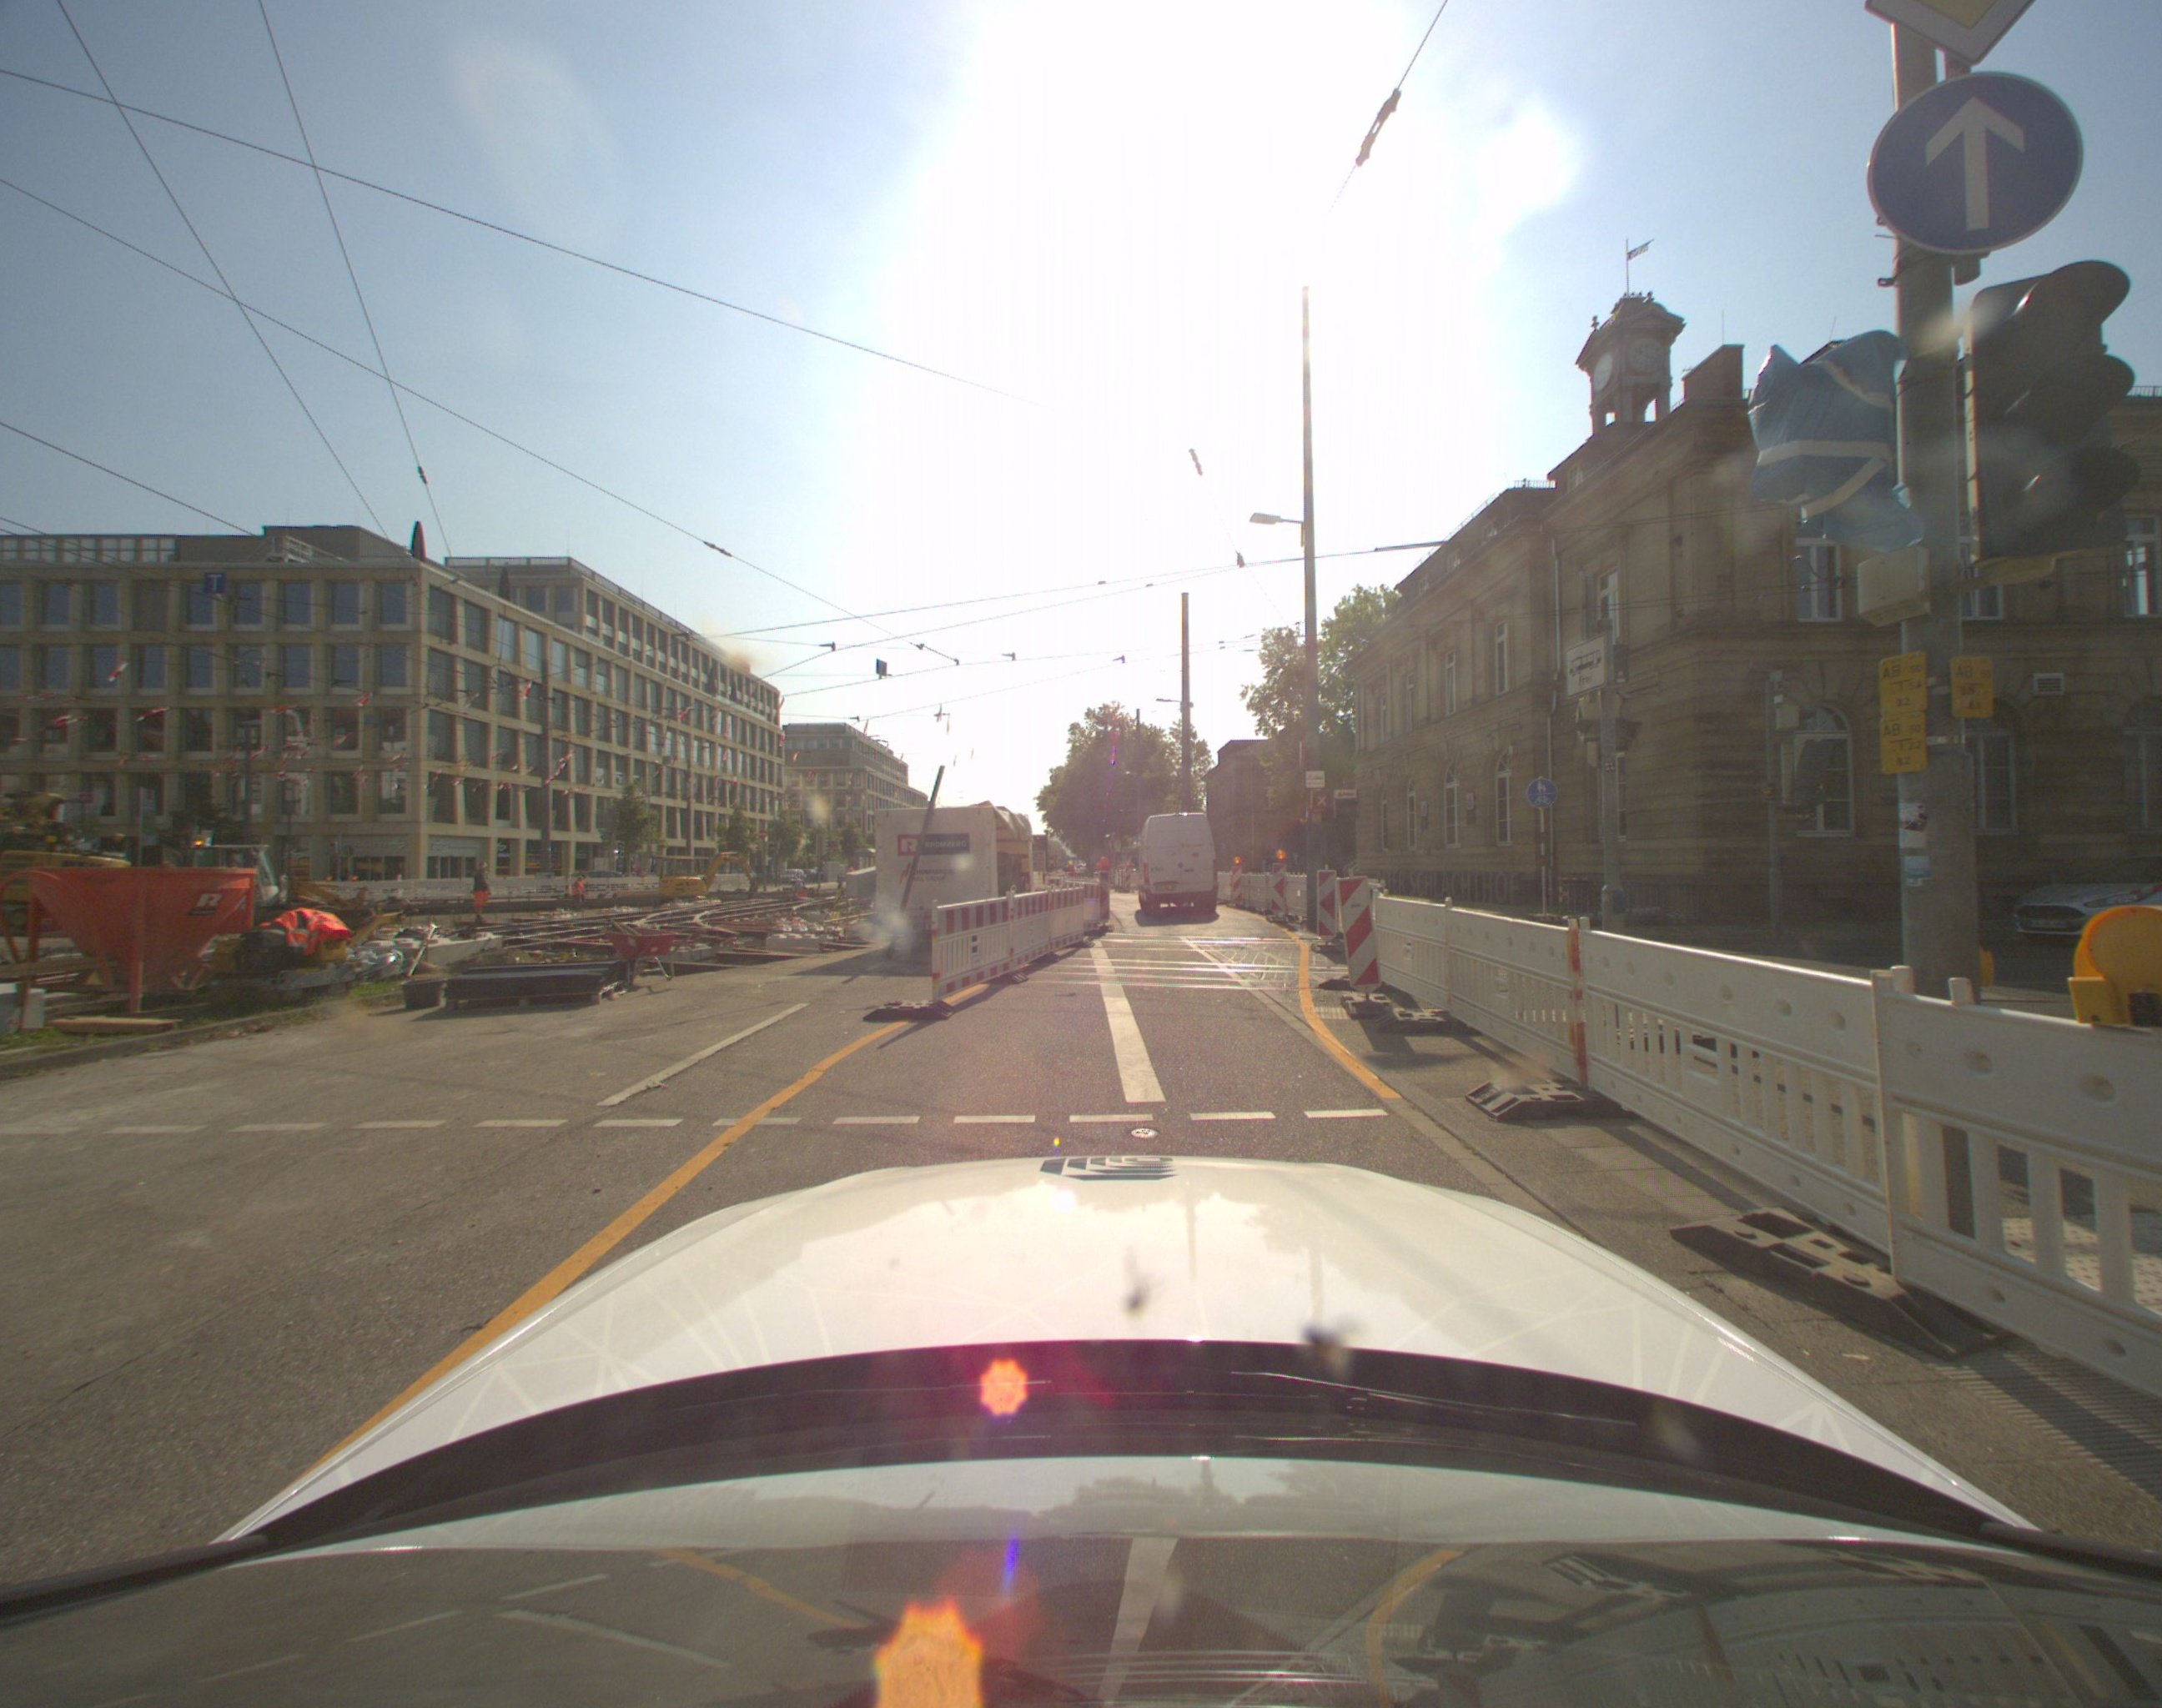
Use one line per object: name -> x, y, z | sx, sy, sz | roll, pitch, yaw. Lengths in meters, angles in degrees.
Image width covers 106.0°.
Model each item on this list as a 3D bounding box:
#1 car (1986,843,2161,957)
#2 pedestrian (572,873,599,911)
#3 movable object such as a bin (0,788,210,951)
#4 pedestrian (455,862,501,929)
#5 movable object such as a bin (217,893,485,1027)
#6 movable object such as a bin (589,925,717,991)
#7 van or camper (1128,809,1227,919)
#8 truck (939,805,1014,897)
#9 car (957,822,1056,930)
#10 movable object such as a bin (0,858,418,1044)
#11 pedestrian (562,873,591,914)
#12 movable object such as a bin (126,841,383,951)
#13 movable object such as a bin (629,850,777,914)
car -> 16.393, 0.609, 12.153 | 3.988, 1.537, 1.664 | -2, -1, -2
pedestrian -> -24.259, 1.843, 39.890 | 0.749, 1.865, 0.811 | 0, -1, 5
movable object such as a bin -> -31.906, 0.556, 24.244 | 7.307, 4.348, 4.986 | -1, -2, 13
pedestrian -> -17.428, 1.186, 23.547 | 0.781, 1.913, 0.724 | -1, -2, 8
movable object such as a bin -> -7.816, 1.074, 8.926 | 0.883, 1.211, 2.213 | -1, -1, 2
movable object such as a bin -> -5.535, 1.306, 10.498 | 1.701, 0.713, 0.722 | -2, -2, 33
van or camper -> 2.601, 0.287, 23.244 | 2.108, 2.682, 5.249 | -3, -1, 0
truck -> -5.167, -0.084, 38.973 | 2.794, 3.913, 8.383 | 1, -1, -12
car -> -1.834, 0.582, 22.060 | 2.202, 2.424, 7.191 | -1, -1, -3
movable object such as a bin -> -9.141, 0.863, 8.546 | 1.594, 1.559, 3.287 | -1, -1, 2
pedestrian -> -23.807, 1.856, 38.430 | 0.923, 1.865, 0.807 | 0, -1, -11
movable object such as a bin -> -23.303, 1.109, 23.351 | 4.839, 2.835, 2.421 | 0, -2, -38
movable object such as a bin -> -19.193, 1.448, 42.213 | 3.602, 2.958, 8.474 | 1, -2, 0
